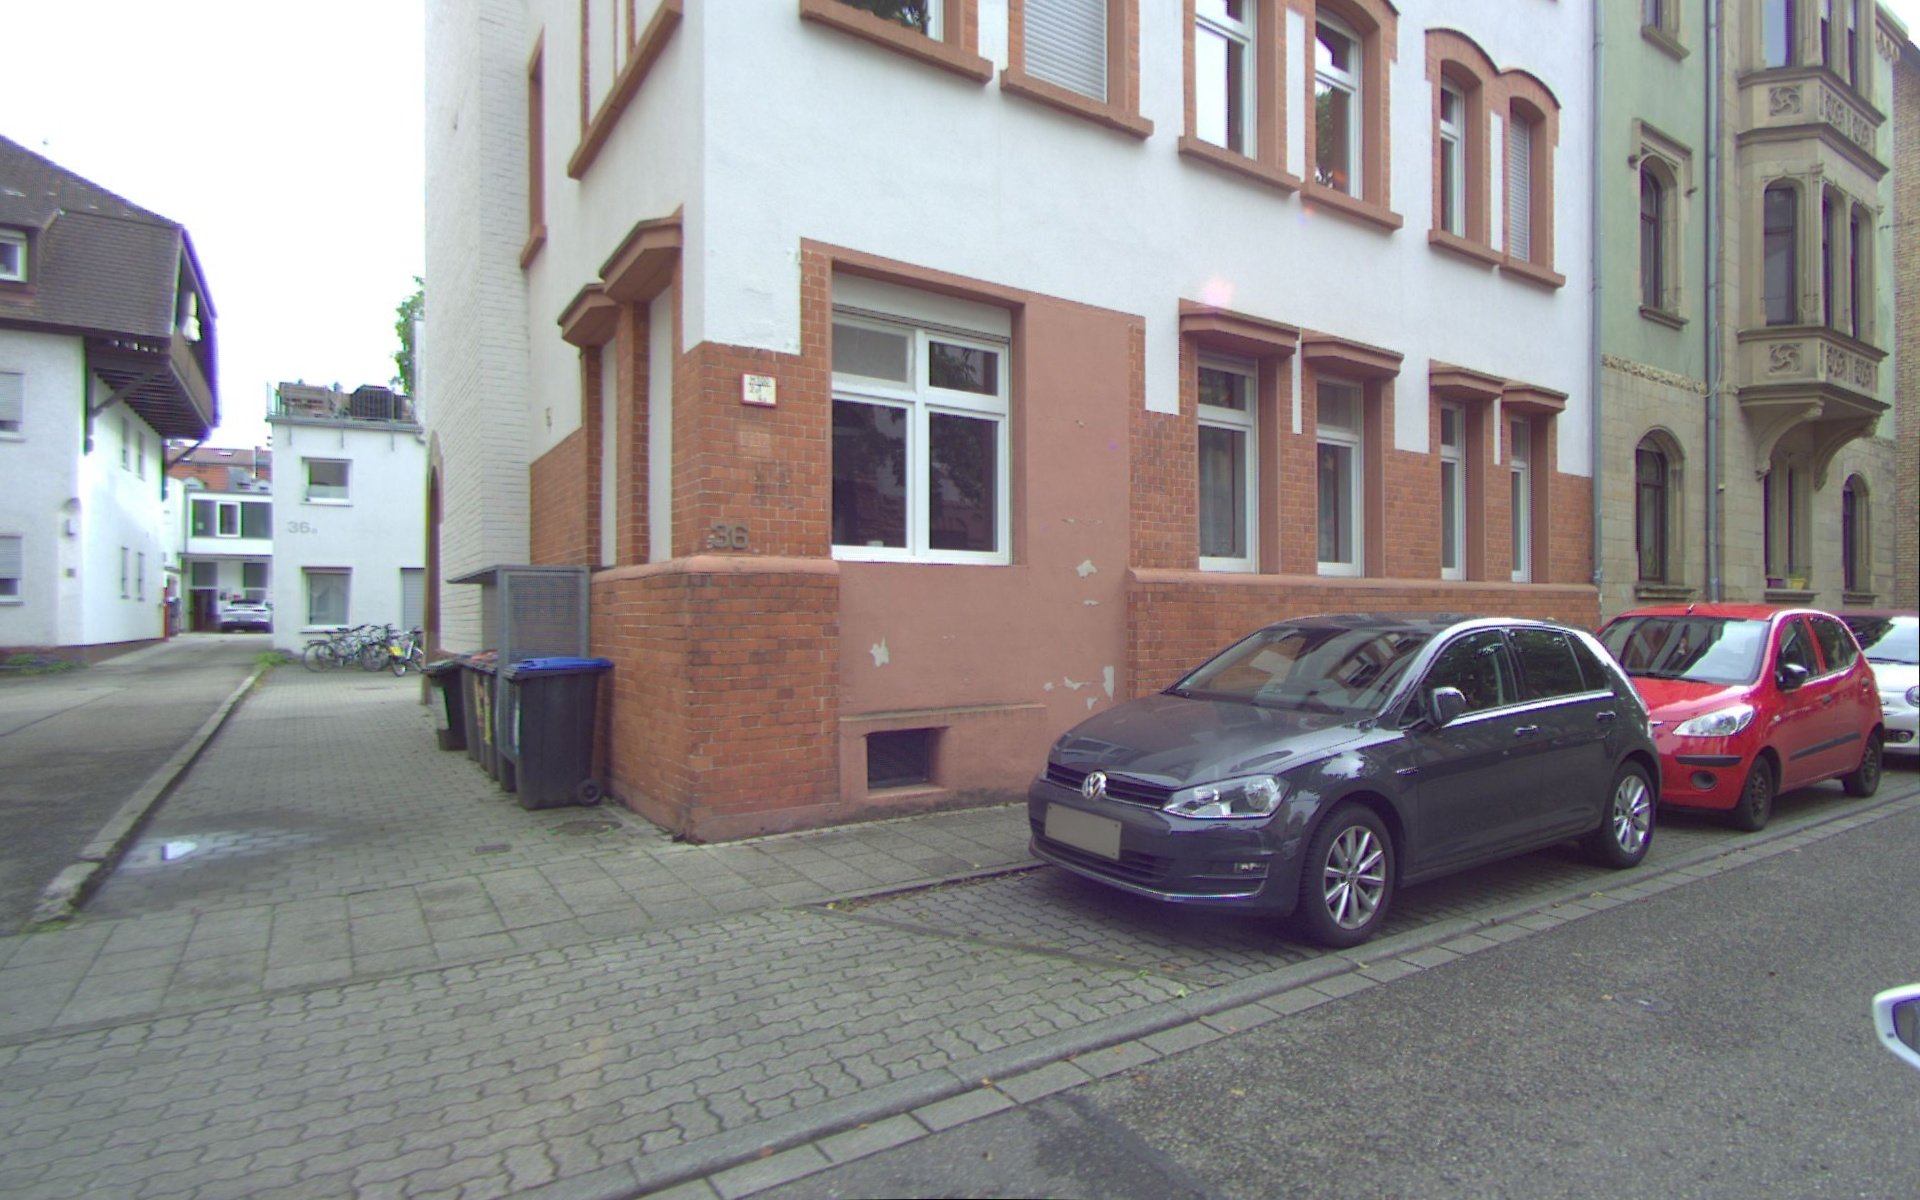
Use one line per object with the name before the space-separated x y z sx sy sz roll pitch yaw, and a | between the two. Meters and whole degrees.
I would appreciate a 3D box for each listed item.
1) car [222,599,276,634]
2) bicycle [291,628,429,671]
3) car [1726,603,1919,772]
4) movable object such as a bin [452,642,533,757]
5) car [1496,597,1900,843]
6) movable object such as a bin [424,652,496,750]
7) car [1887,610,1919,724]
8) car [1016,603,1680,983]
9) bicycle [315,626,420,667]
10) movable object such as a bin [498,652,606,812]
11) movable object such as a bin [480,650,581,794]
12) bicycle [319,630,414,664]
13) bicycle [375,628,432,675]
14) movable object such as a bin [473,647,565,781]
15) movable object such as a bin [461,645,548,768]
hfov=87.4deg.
car | -32.773 0.752 46.351 1.831 1.528 3.964 0 0 -33
bicycle | -14.901 1.211 25.052 0.770 1.004 2.862 0 -2 36
car | 9.705 0.806 10.690 3.522 1.531 1.653 0 0 -38
movable object such as a bin | -4.672 0.964 10.028 0.671 1.066 0.686 0 0 -32
car | 5.936 0.763 7.985 3.530 1.551 1.456 0 1 -34
movable object such as a bin | -5.226 1.036 10.493 0.633 0.948 0.605 0 0 -32
car | 14.004 0.875 13.479 3.418 1.453 1.508 0 1 -33
car | 2.294 0.747 5.549 3.876 1.436 1.456 0 1 -34
bicycle | -15.525 1.208 26.379 2.305 0.994 0.656 0 0 -42
movable object such as a bin | -3.030 0.941 7.442 0.640 1.066 0.686 0 0 -32
movable object such as a bin | -3.492 0.956 8.159 0.671 1.066 0.661 0 0 -32
bicycle | -16.024 1.267 27.197 2.196 0.852 0.677 0 0 -30
bicycle | -13.273 1.216 24.000 0.539 1.038 1.846 0 0 -7
movable object such as a bin | -3.847 0.966 8.750 0.660 1.066 0.672 0 0 -32
movable object such as a bin | -4.274 0.970 9.413 0.662 1.066 0.686 0 0 -32
